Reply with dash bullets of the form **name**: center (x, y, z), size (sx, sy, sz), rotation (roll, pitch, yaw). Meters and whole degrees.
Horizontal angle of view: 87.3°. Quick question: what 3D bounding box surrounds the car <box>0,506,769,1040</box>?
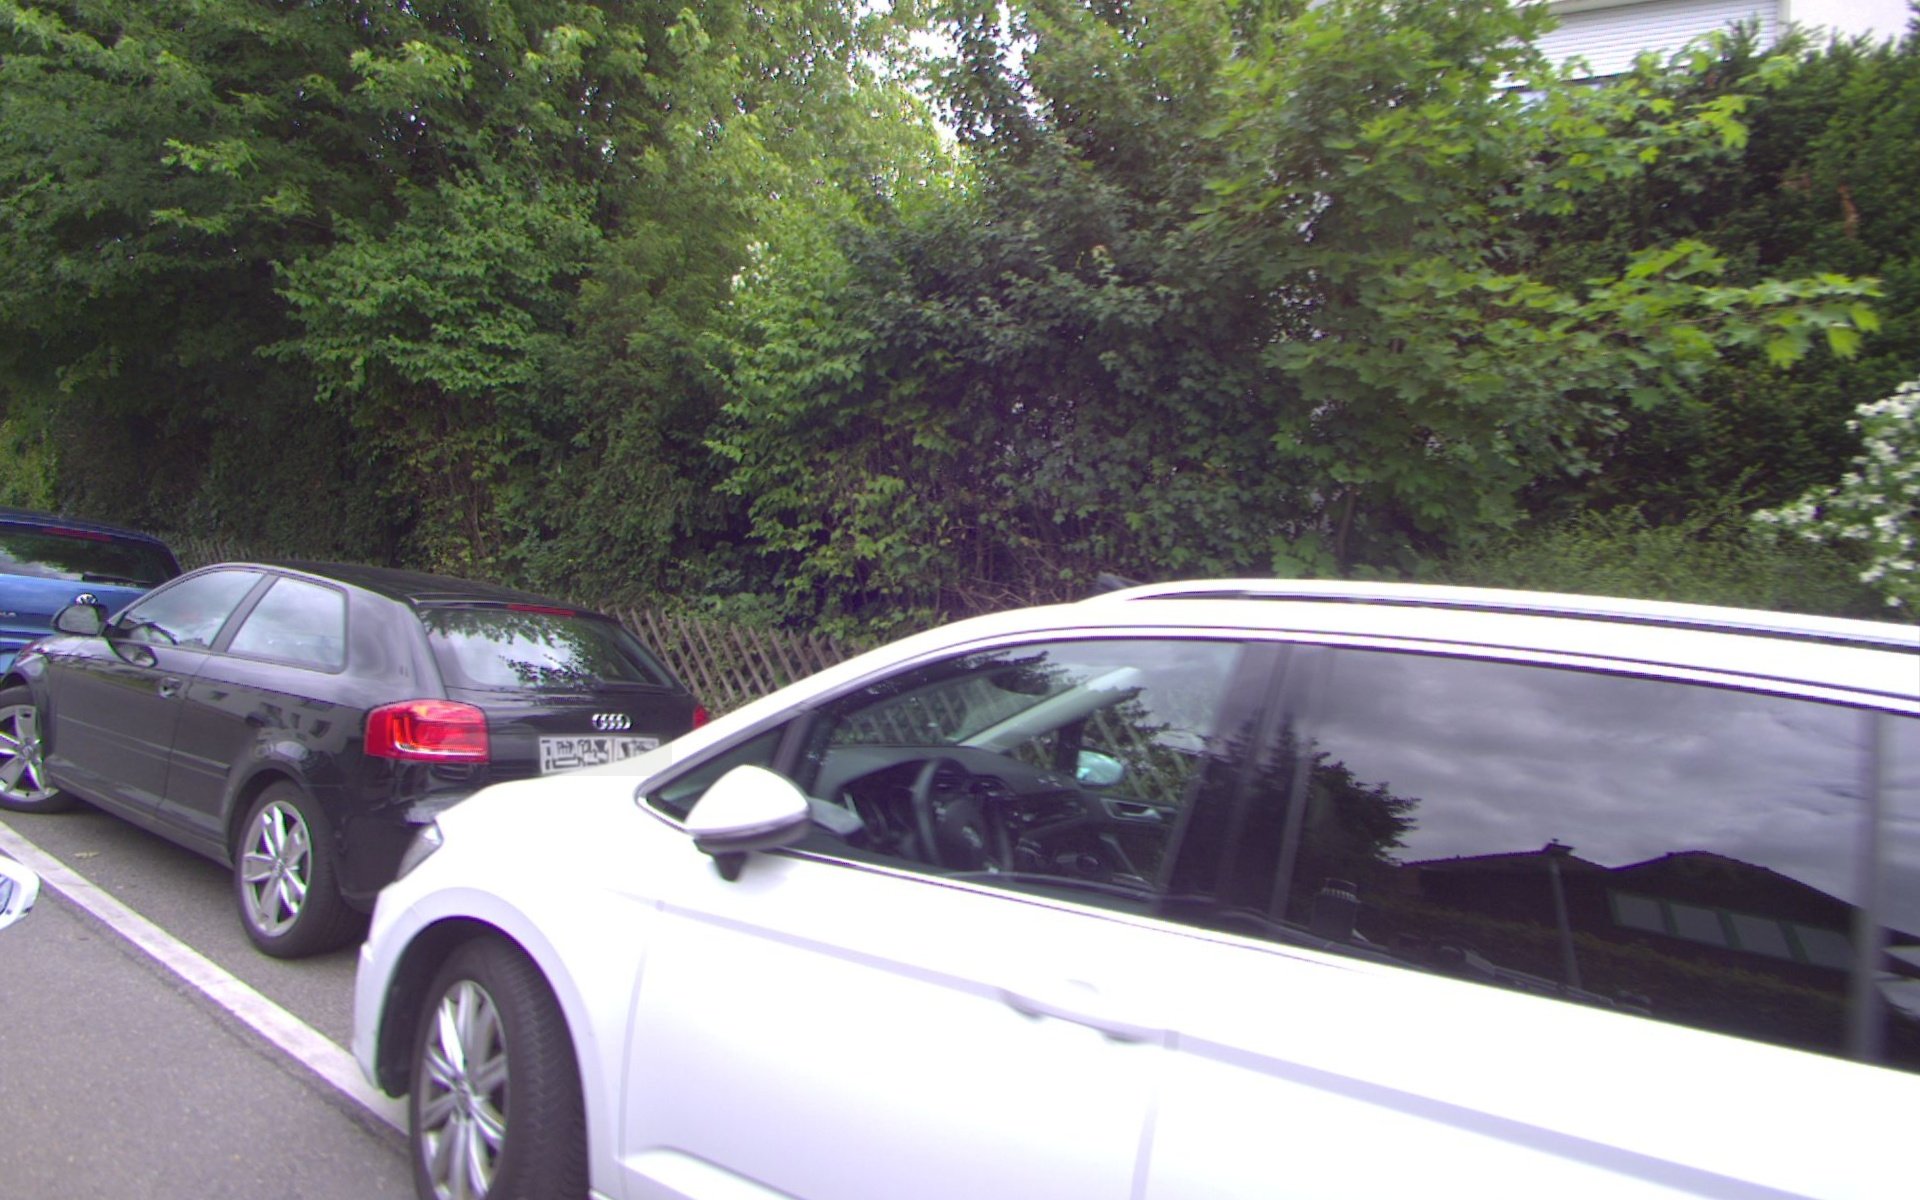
- **car**: center (-3.251, 0.447, 4.866), size (4.303, 1.471, 1.812), rotation (6, 1, 28)

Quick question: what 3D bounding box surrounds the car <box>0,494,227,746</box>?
- **car**: center (-7.386, -0.039, 7.437), size (4.092, 1.526, 1.700), rotation (7, -2, 33)

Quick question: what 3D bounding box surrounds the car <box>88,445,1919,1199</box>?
- **car**: center (0.487, 0.731, 2.191), size (4.676, 1.629, 2.004), rotation (7, 1, 28)
